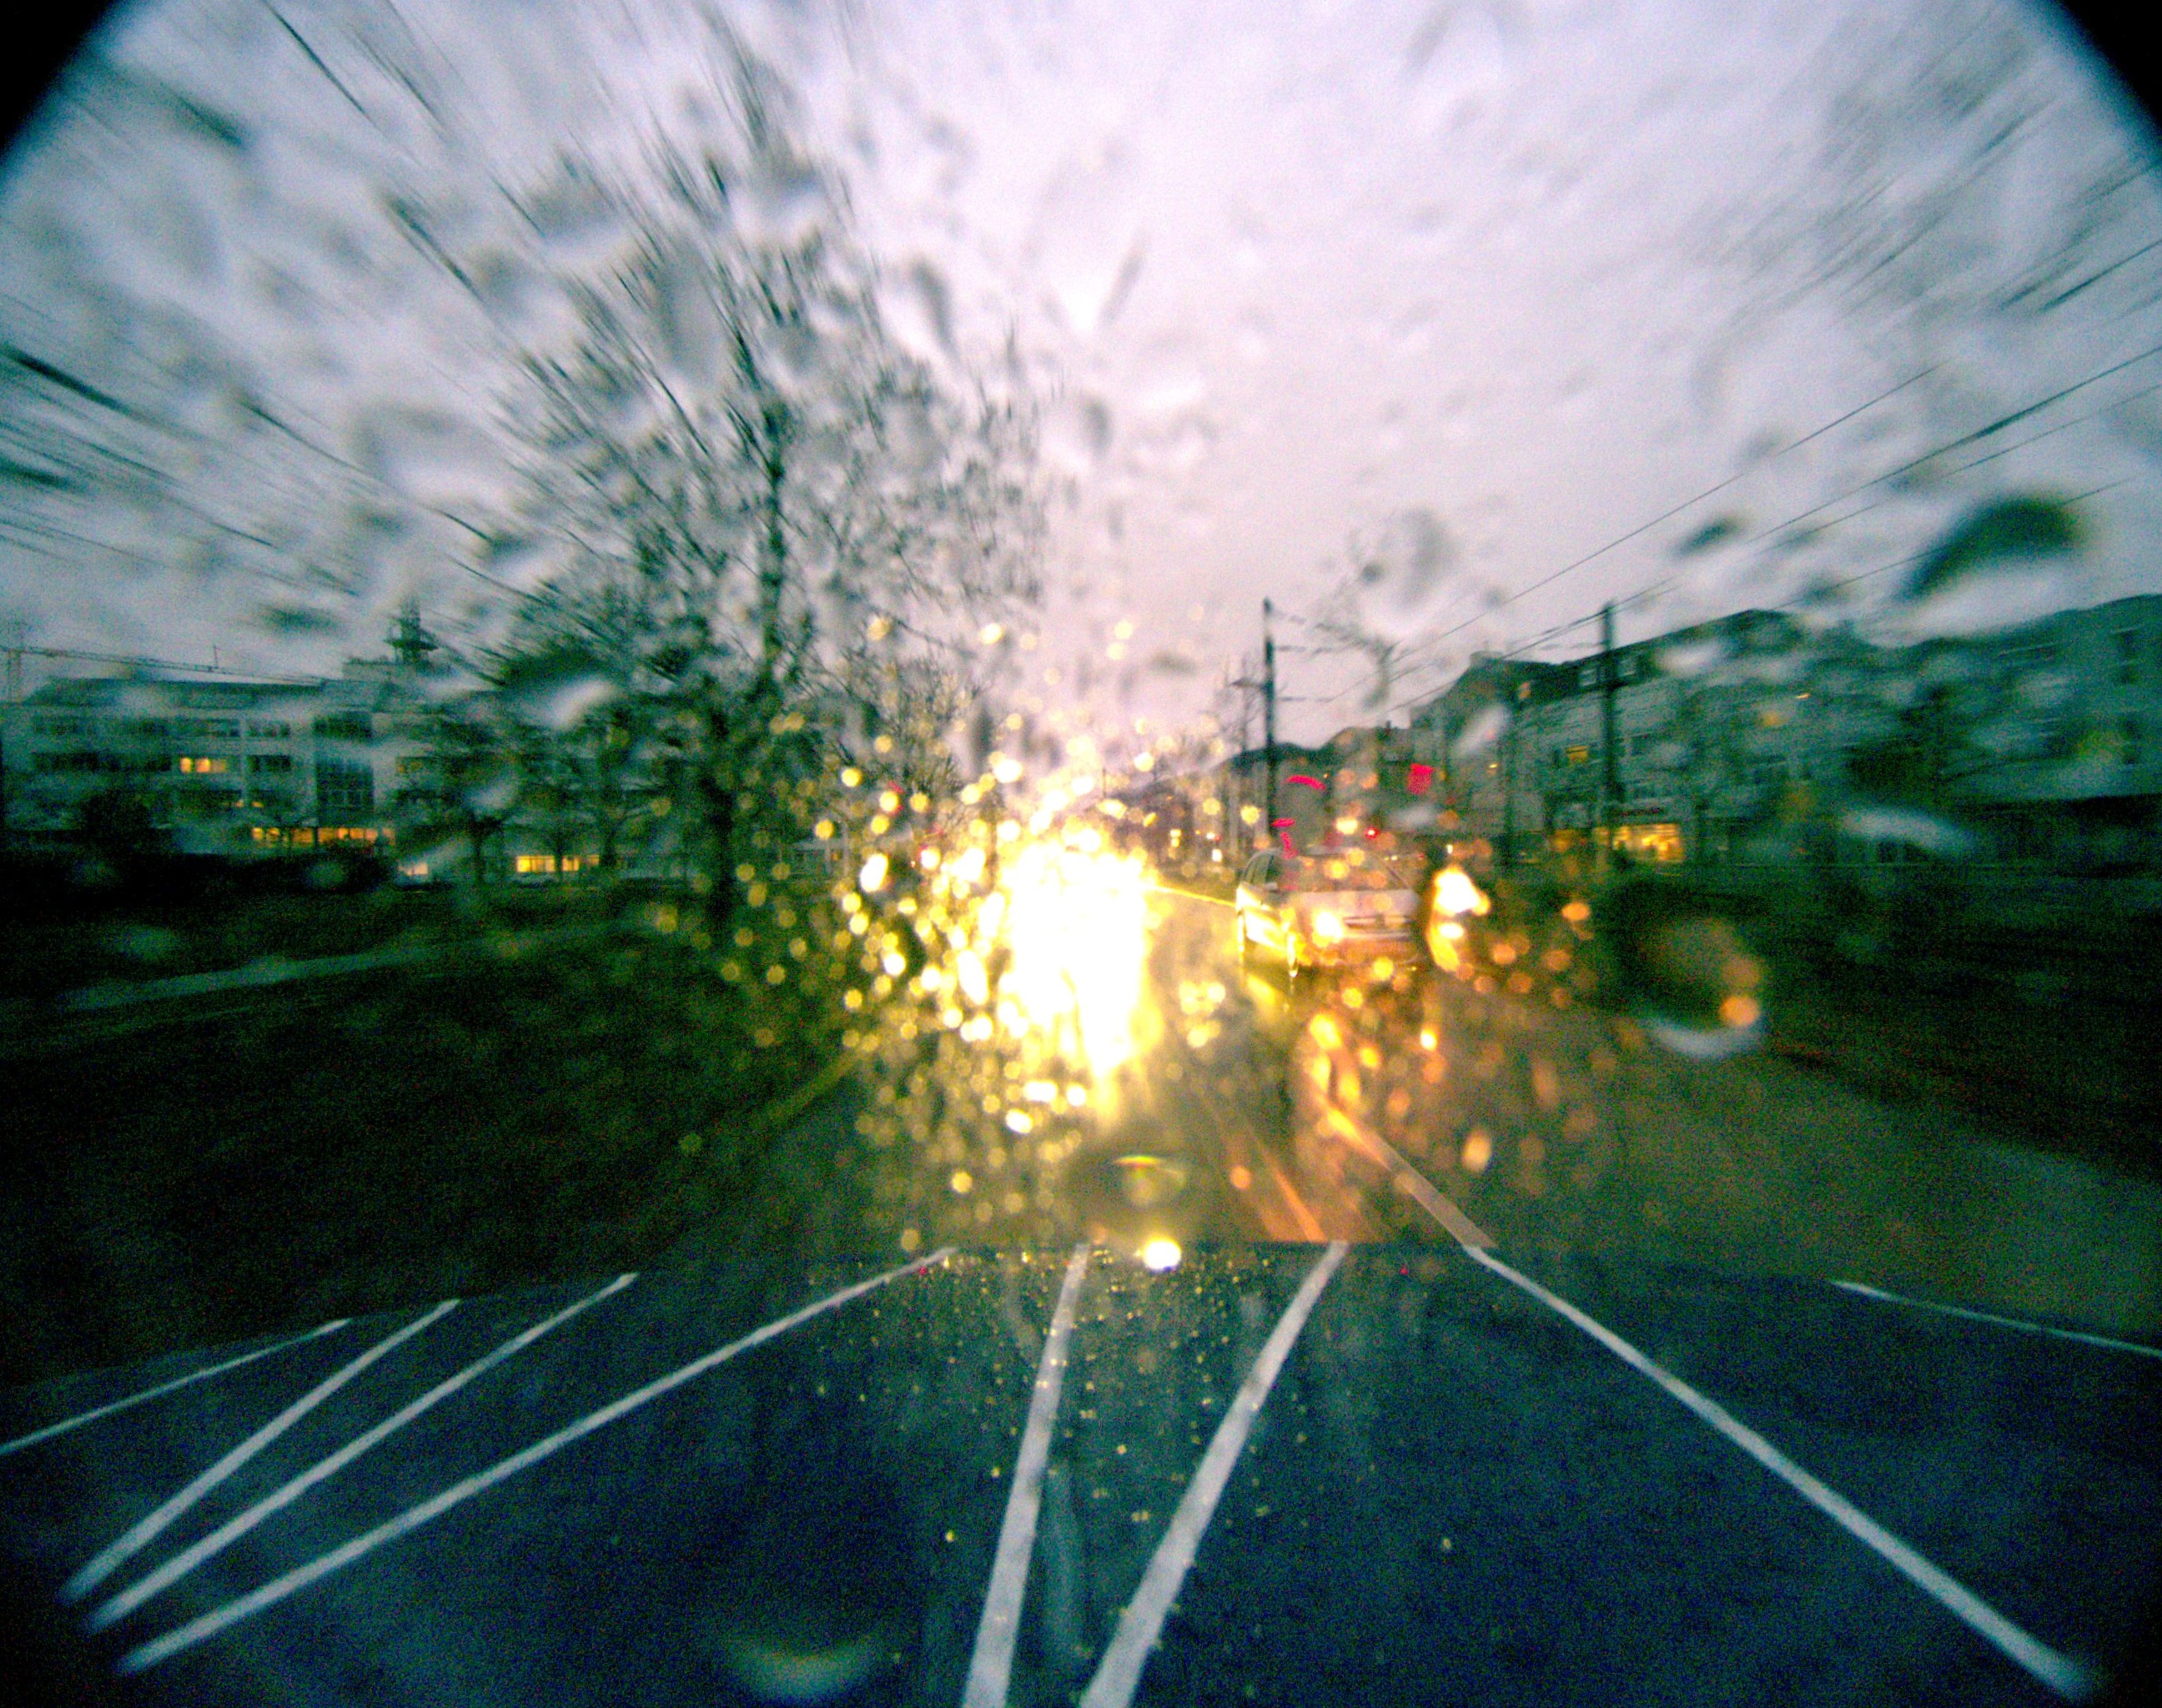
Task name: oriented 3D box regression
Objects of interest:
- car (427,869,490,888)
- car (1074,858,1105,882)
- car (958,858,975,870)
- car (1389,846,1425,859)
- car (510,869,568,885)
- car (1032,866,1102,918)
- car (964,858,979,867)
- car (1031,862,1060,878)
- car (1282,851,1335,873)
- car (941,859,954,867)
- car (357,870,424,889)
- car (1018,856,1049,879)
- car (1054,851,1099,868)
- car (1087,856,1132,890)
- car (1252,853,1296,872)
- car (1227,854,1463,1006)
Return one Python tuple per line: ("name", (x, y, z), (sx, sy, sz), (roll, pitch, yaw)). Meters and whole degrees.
("car", (-60.144, 2.337, 73.489), (4.150, 1.622, 1.997), (-1, 0, -17))
("car", (0.580, 1.128, 55.177), (1.845, 1.546, 4.215), (-3, 0, -4))
("car", (-15.831, 1.346, 105.190), (1.951, 1.546, 4.213), (-3, 0, -12))
("car", (41.301, -0.193, 96.316), (3.899, 1.467, 1.777), (-1, 0, -9))
("car", (-52.724, 2.231, 74.051), (4.167, 1.430, 1.901), (-1, 0, -17))
("car", (-0.433, 1.086, 23.171), (1.897, 1.347, 4.289), (-1, 0, -1))
("car", (-17.307, 1.383, 119.914), (2.001, 1.315, 3.995), (-1, 0, -14))
("car", (-3.326, 1.489, 71.054), (1.899, 1.347, 4.284), (-1, 0, -14))
("car", (15.383, 0.541, 51.699), (1.898, 1.347, 4.287), (-1, 0, -7))
("car", (-22.613, 1.493, 128.604), (2.001, 1.315, 3.995), (-1, 0, -14))
("car", (-65.427, 2.416, 72.058), (4.167, 1.622, 1.997), (-1, 0, -17))
("car", (-3.526, 0.944, 56.010), (1.950, 1.546, 4.214), (-3, 0, -7))
("car", (-0.567, 0.638, 87.650), (4.661, 1.846, 2.332), (-1, 0, 38))
("car", (1.428, 0.939, 39.591), (1.924, 1.546, 4.216), (-3, 0, -2))
("car", (14.646, 0.622, 57.945), (1.898, 1.347, 4.287), (-1, 0, -6))
("car", (3.209, 0.818, 10.106), (1.670, 1.566, 3.922), (-2, 0, -1))
